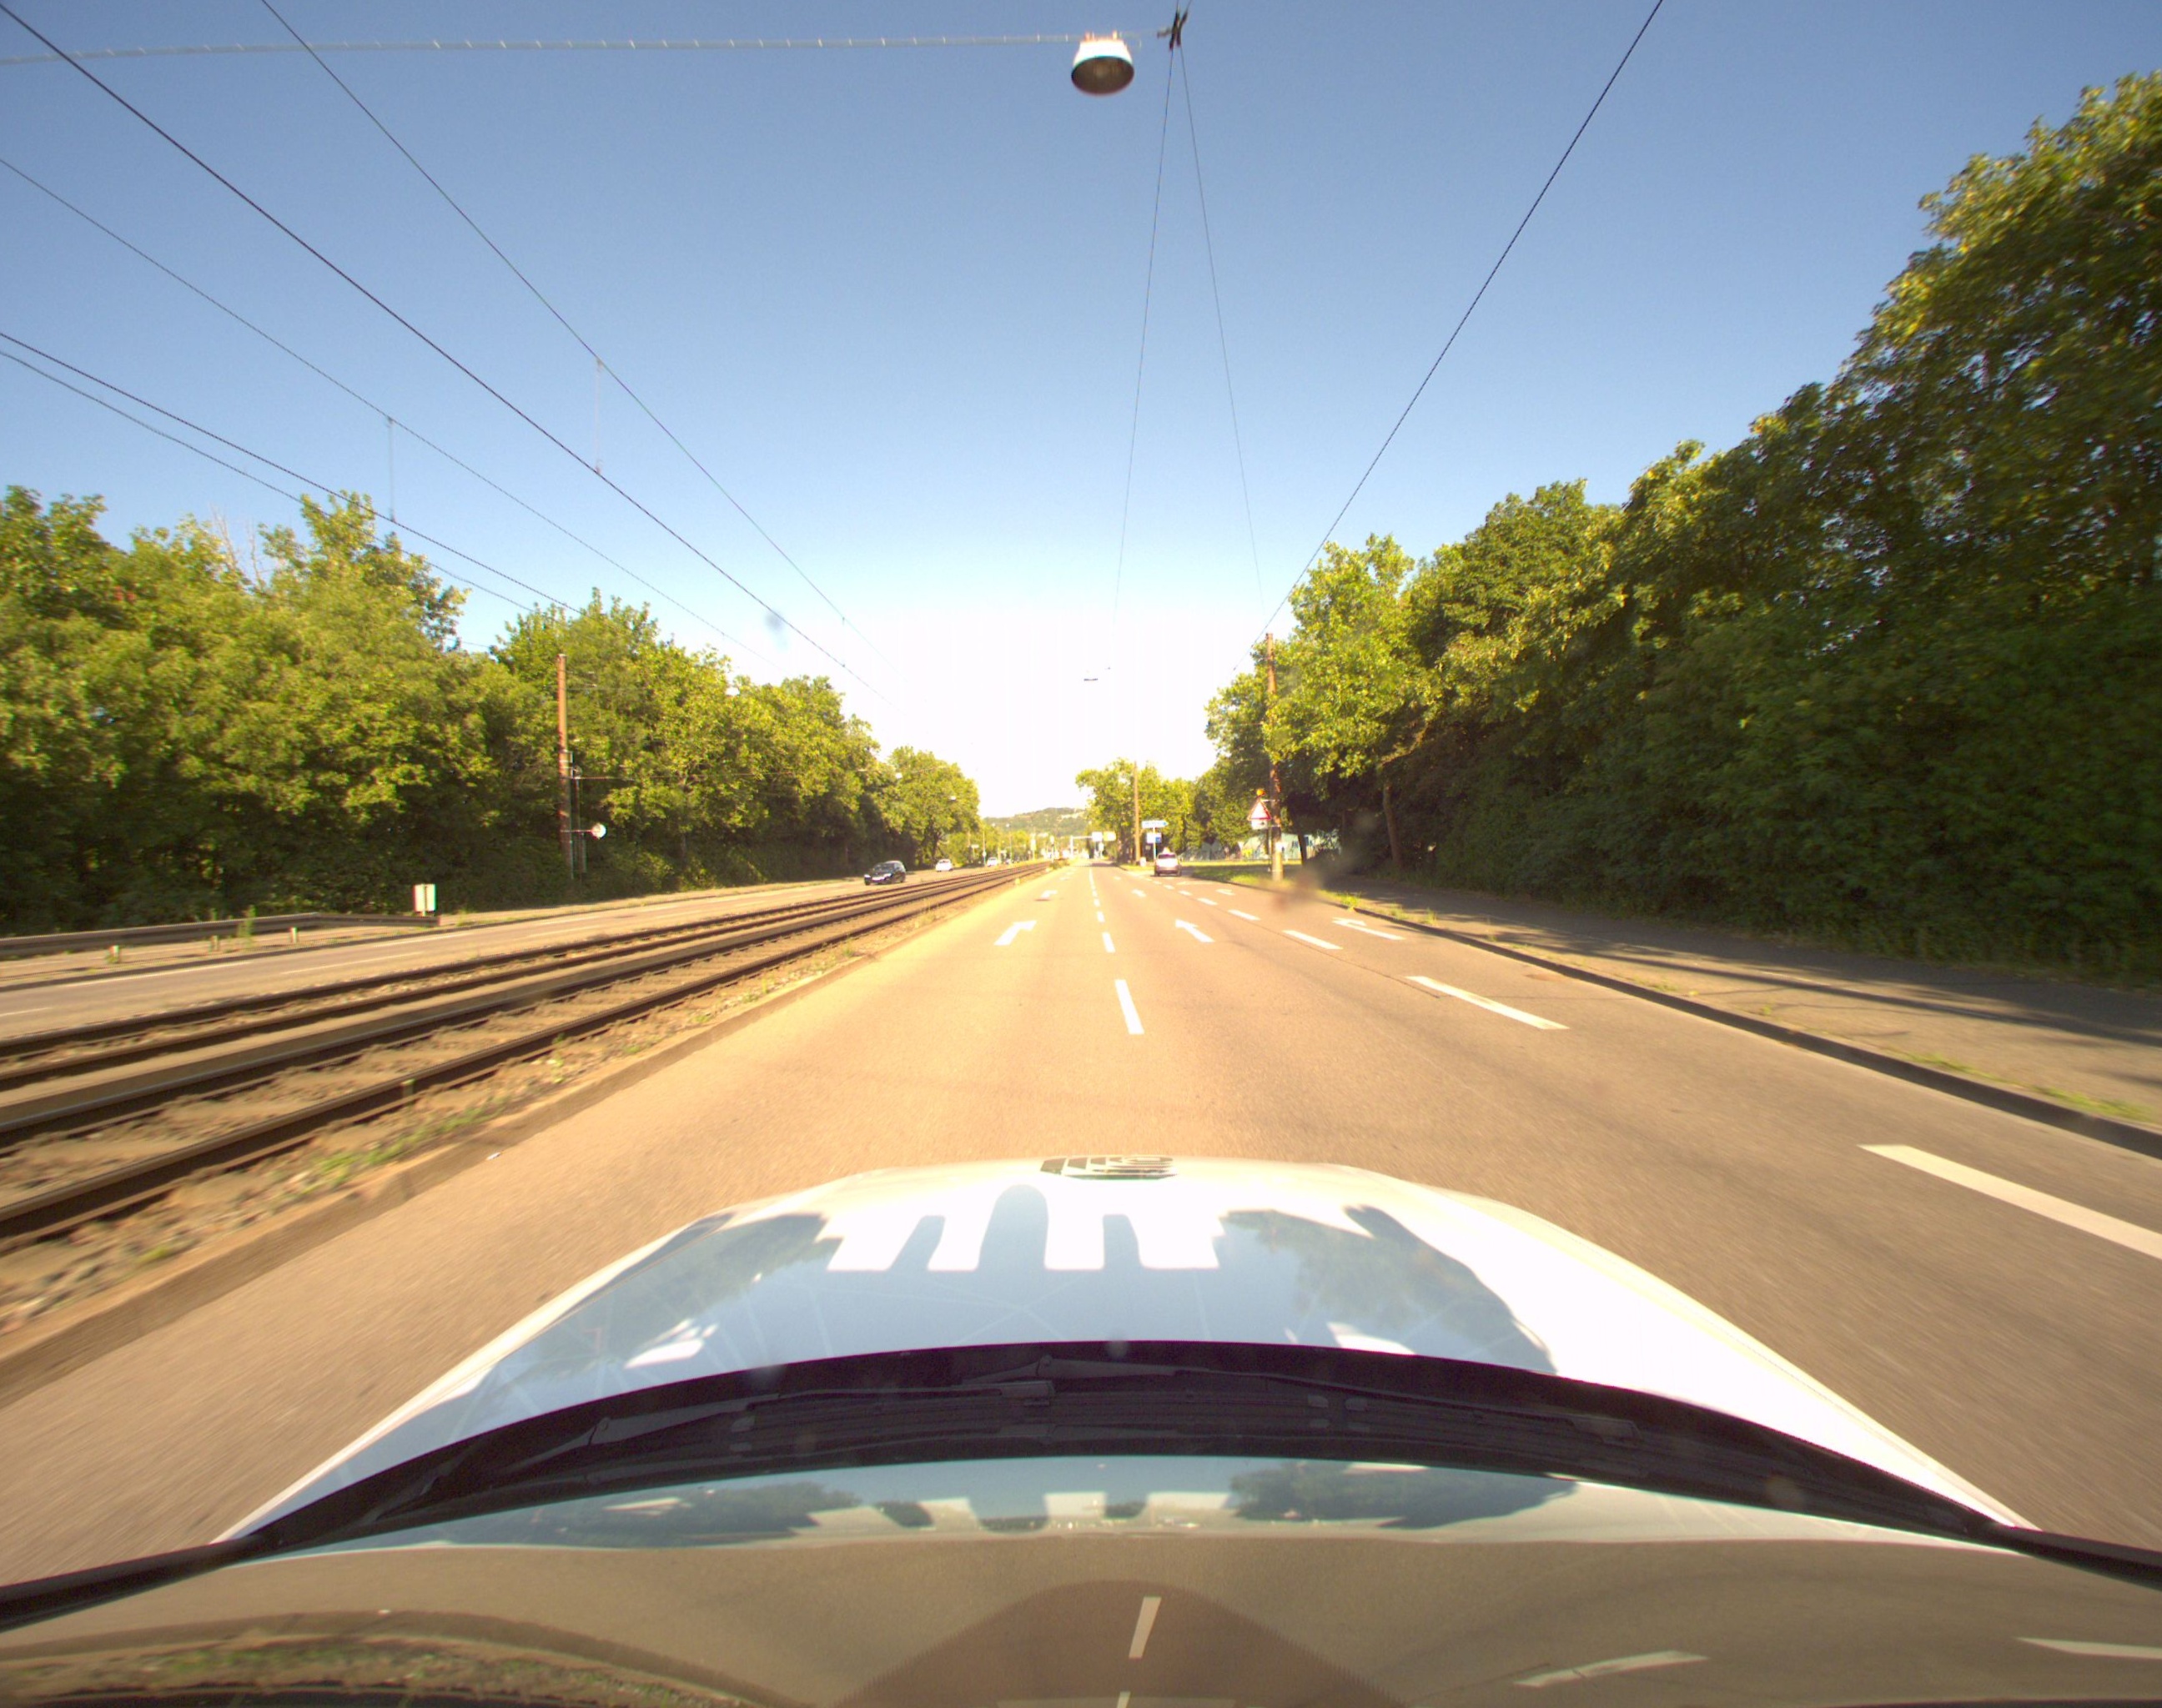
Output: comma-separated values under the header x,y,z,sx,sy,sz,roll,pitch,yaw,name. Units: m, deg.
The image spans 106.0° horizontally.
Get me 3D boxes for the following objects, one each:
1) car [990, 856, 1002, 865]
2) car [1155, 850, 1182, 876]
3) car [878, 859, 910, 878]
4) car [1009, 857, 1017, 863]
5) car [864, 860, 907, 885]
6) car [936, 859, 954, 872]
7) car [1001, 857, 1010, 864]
x,y,z,sx,sy,sz,roll,pitch,yaw,name
-16.580,1.280,159.191,1.958,1.707,4.940,-4,0,-2,car
6.221,0.650,58.218,1.800,1.773,3.867,-1,0,5,car
-16.519,1.258,72.210,1.685,1.556,4.191,-4,0,1,car
-18.605,1.667,223.487,1.893,1.694,4.937,-3,0,-2,car
-12.807,1.189,53.594,1.651,1.432,4.502,-4,0,1,car
-19.371,1.657,115.951,1.842,1.734,4.926,-4,0,-3,car
-17.832,1.458,191.343,1.706,1.468,4.345,-4,0,-2,car
